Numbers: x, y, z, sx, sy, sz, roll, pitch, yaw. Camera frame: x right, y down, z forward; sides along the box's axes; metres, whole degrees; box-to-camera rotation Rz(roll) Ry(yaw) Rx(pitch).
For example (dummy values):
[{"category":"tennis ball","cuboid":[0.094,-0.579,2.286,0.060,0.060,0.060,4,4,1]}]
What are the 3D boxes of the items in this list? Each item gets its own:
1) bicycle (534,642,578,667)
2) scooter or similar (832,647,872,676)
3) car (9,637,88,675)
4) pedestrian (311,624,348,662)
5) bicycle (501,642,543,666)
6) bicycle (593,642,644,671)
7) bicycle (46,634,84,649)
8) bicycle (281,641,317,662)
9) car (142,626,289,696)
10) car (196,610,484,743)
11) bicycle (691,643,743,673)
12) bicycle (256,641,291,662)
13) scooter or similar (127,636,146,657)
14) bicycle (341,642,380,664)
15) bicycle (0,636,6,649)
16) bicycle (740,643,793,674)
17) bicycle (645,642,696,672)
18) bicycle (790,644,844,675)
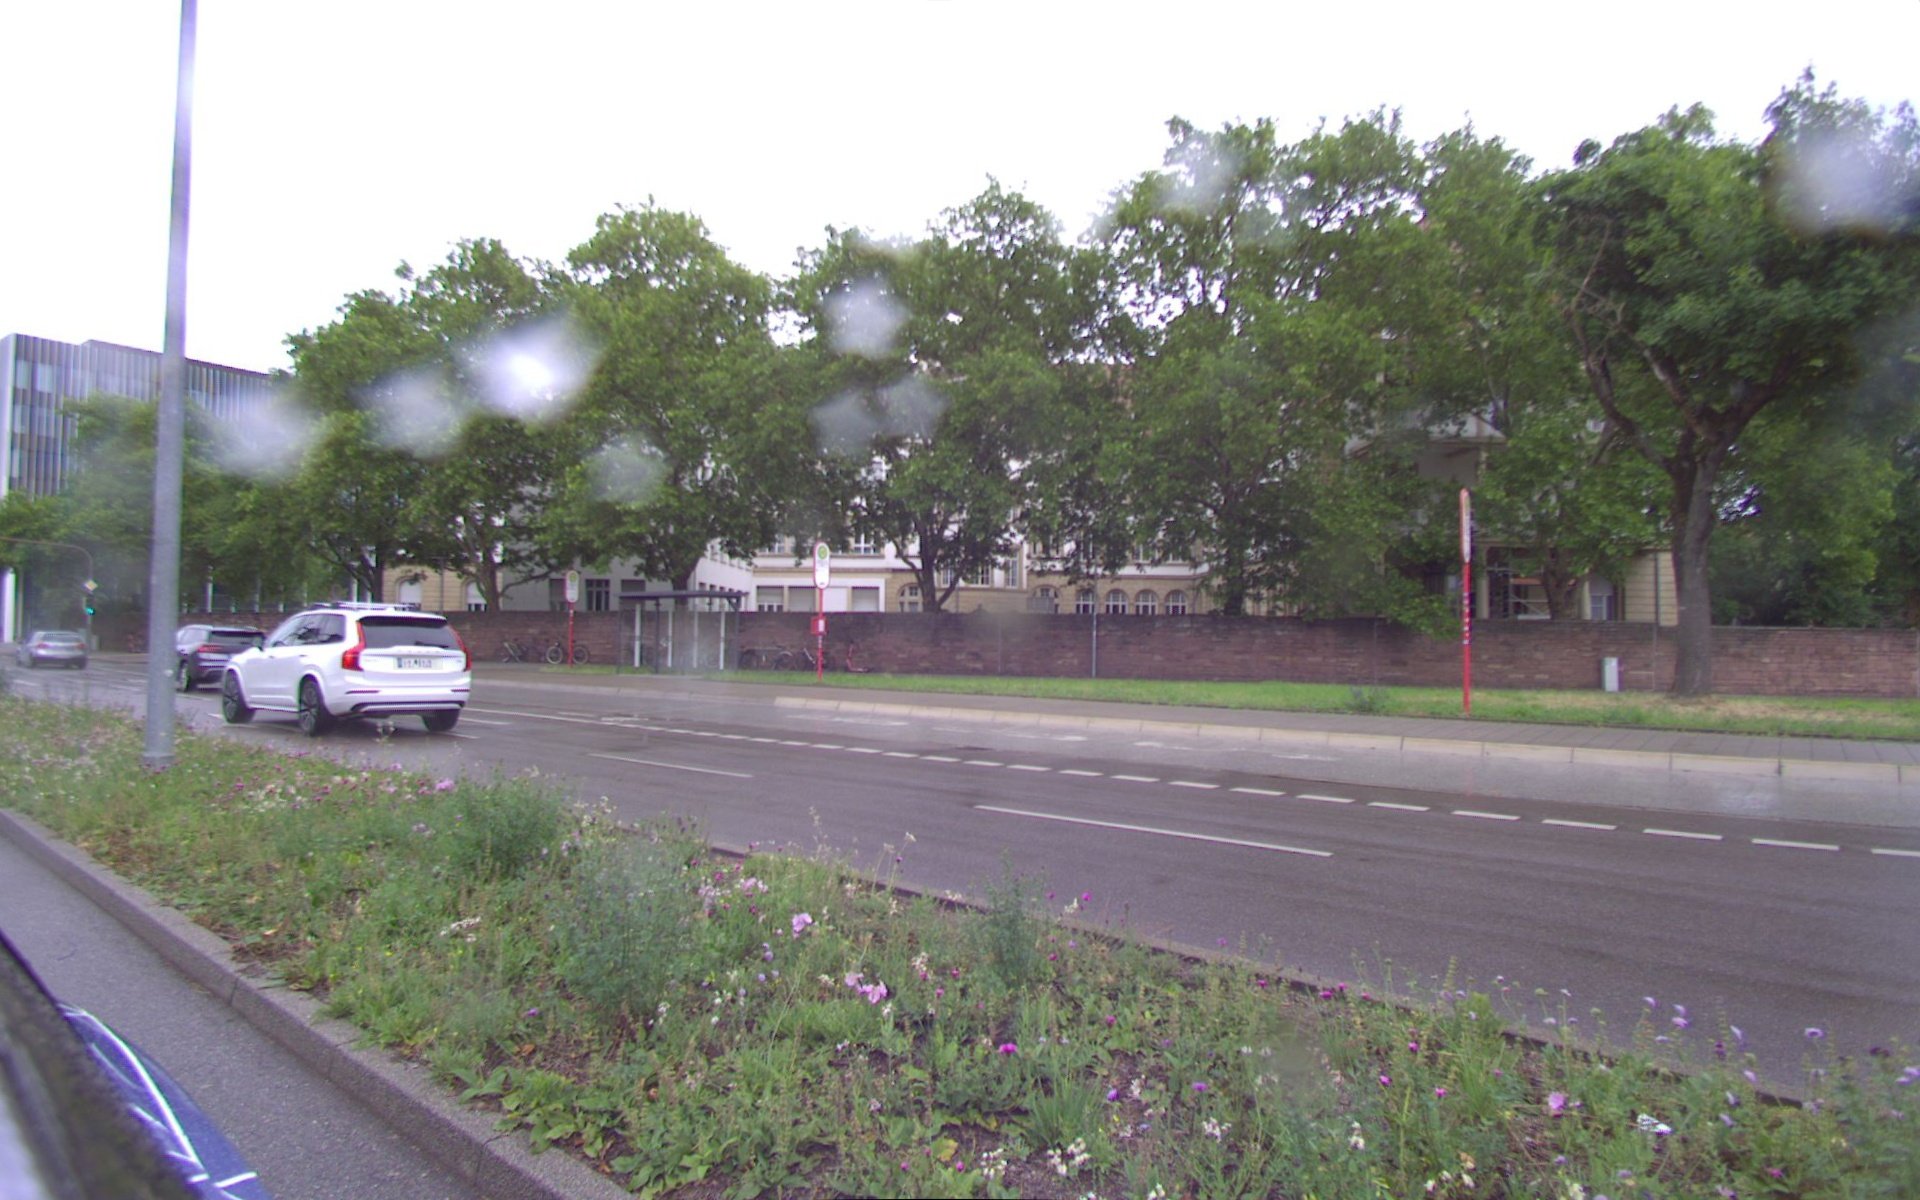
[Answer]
[{"category":"bicycle","cuboid":[-16.648,2.226,41.692,1.692,0.990,0.727,-1,-2,27]},{"category":"scooter or similar","cuboid":[-4.005,2.279,37.467,1.353,1.055,0.570,-1,-3,22]},{"category":"car","cuboid":[-36.084,2.211,40.039,4.154,1.415,1.662,-1,-4,40]},{"category":"pedestrian","cuboid":[-28.746,1.964,46.132,1.395,1.708,0.862,-1,-3,32]},{"category":"bicycle","cuboid":[-18.478,2.258,42.675,1.692,0.990,0.727,-1,-2,27]},{"category":"bicycle","cuboid":[-13.699,2.257,40.609,1.975,1.144,0.571,-1,-3,18]},{"category":"bicycle","cuboid":[-73.844,3.439,83.517,0.595,1.231,2.267,-1,-3,25]},{"category":"bicycle","cuboid":[-32.144,2.500,49.210,1.692,0.990,0.727,-1,-2,27]},{"category":"car","cuboid":[-19.223,1.545,26.066,4.600,1.648,1.973,-1,-5,41]},{"category":"car","cuboid":[-9.400,1.069,15.172,5.156,1.695,1.809,-1,-4,37]},{"category":"bicycle","cuboid":[-9.445,2.233,39.286,1.978,1.144,0.570,-1,-3,22]},{"category":"bicycle","cuboid":[-33.880,2.517,49.938,1.858,0.990,0.726,-1,-2,31]},{"category":"scooter or similar","cuboid":[-47.272,2.662,58.072,1.138,1.206,0.388,-1,4,32]},{"category":"bicycle","cuboid":[-27.806,2.434,46.926,1.692,0.990,0.727,-1,-2,27]},{"category":"bicycle","cuboid":[-94.753,4.137,98.789,0.595,1.231,2.267,-1,-3,25]},{"category":"bicycle","cuboid":[-7.346,2.213,38.443,1.978,1.144,0.570,-1,-3,22]},{"category":"bicycle","cuboid":[-11.413,2.244,39.884,1.975,1.144,0.571,-1,-3,18]},{"category":"bicycle","cuboid":[-5.357,2.232,37.964,1.978,1.144,0.570,-1,-3,22]}]
